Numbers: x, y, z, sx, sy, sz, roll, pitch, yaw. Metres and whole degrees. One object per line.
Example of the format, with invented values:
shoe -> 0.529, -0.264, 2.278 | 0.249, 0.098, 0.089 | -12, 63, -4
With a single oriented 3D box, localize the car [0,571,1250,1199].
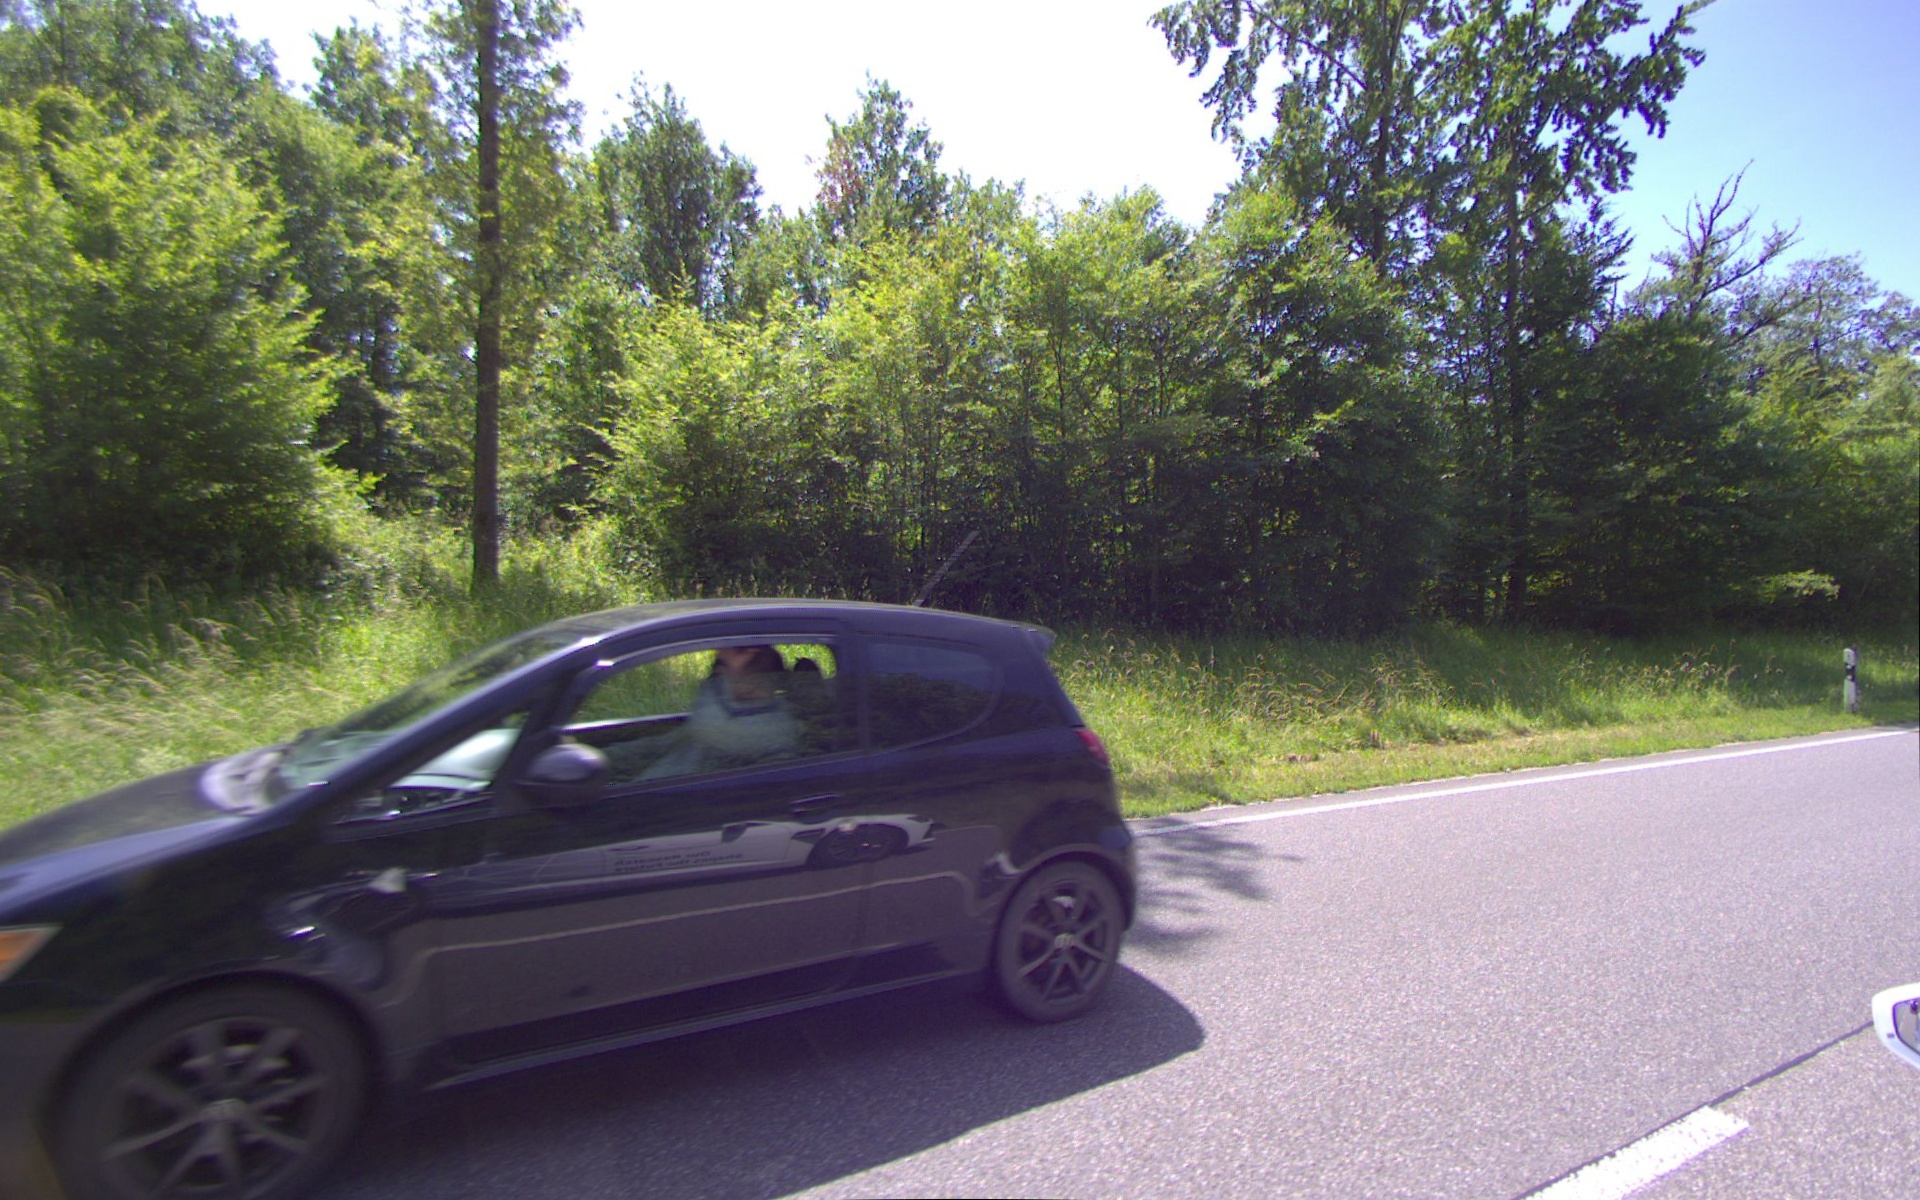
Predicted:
car -> -0.869, 0.727, 3.758 | 3.761, 1.515, 1.652 | 1, -1, -31
